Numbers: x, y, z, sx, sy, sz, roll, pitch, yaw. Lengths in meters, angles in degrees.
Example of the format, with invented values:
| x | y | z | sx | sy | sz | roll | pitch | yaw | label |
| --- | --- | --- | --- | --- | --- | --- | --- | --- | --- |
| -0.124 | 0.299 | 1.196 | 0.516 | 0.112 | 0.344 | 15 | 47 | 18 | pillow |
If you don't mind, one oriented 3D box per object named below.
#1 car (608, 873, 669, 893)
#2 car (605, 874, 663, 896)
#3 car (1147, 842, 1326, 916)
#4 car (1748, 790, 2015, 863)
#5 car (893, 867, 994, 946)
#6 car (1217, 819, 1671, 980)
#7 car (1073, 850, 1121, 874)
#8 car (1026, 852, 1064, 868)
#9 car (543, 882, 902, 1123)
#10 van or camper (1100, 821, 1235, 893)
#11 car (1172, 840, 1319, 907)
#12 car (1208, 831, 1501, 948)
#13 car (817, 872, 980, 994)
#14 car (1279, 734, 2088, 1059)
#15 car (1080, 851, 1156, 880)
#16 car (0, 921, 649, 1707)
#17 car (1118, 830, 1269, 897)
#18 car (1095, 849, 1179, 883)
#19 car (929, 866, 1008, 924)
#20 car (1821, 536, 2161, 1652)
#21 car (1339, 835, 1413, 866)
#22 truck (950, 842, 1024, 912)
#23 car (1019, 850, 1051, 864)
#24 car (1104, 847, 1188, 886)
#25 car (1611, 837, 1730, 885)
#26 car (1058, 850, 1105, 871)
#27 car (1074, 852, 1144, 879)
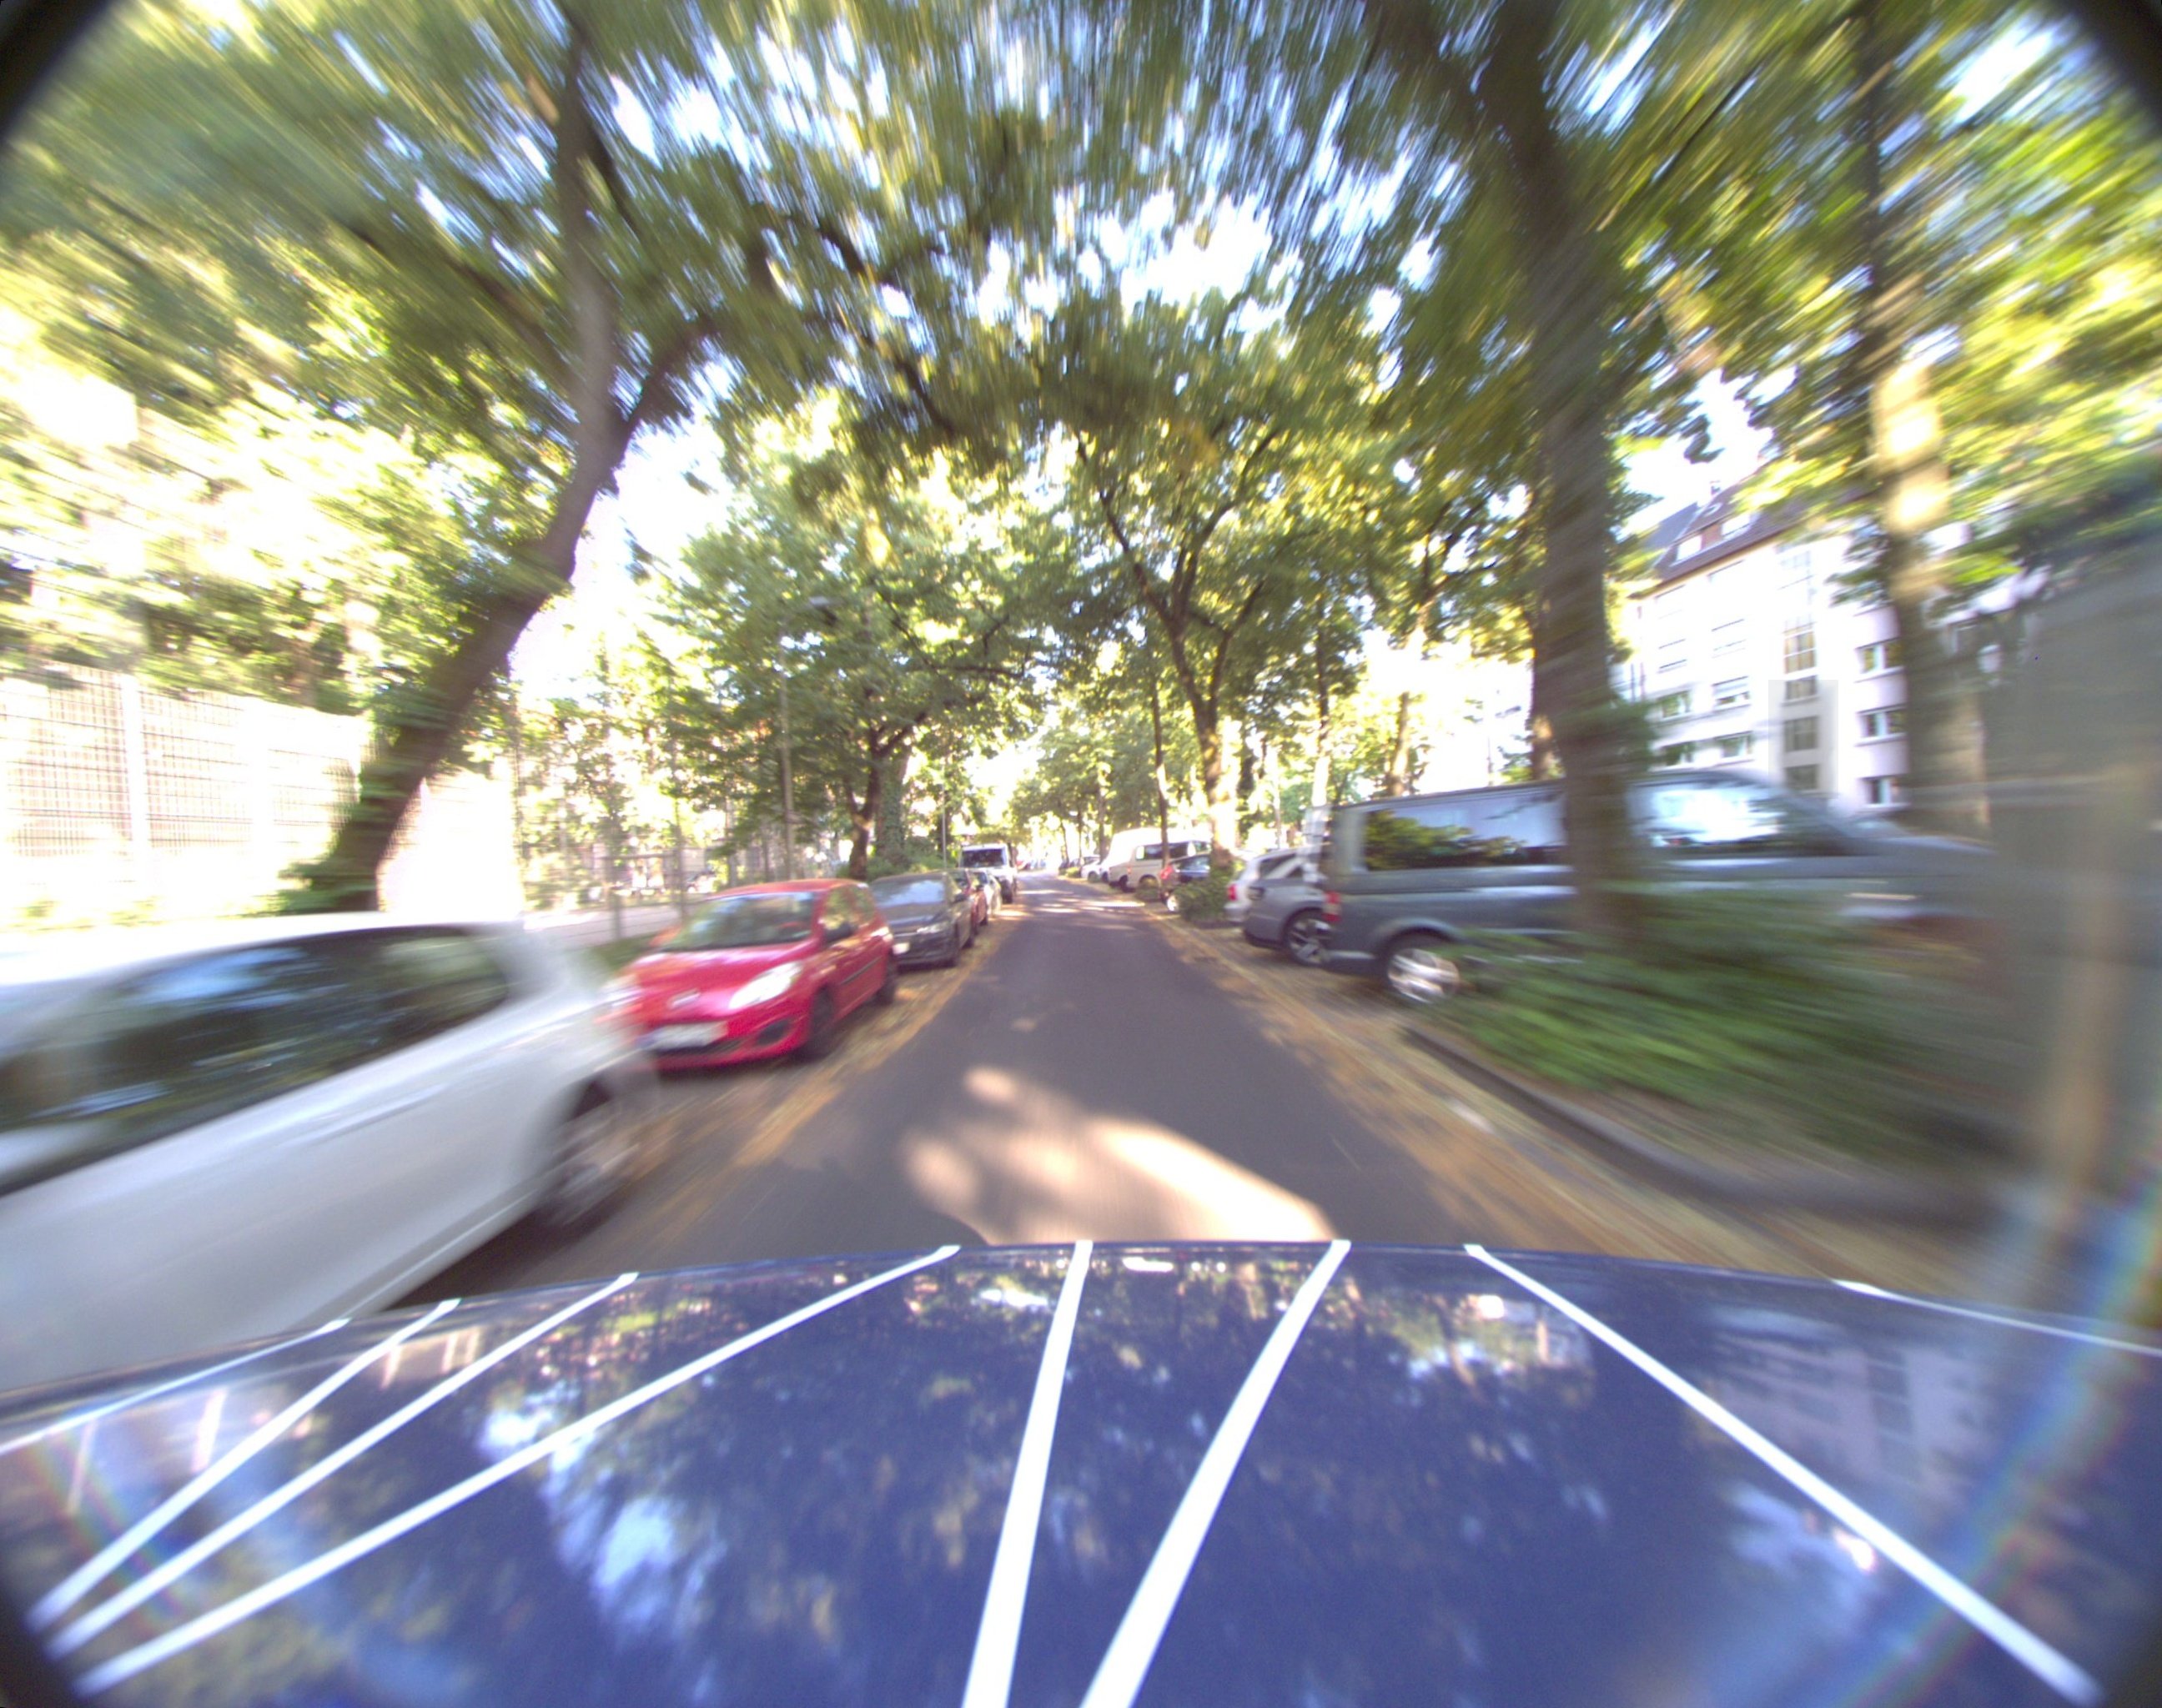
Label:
| x | y | z | sx | sy | sz | roll | pitch | yaw | label |
| --- | --- | --- | --- | --- | --- | --- | --- | --- | --- |
| -35.165 | 2.295 | 60.406 | 4.007 | 1.401 | 1.795 | -1 | 0 | -36 | car |
| -32.563 | 2.241 | 55.389 | 3.473 | 1.401 | 1.795 | -1 | 0 | -36 | car |
| 3.814 | 0.635 | 18.822 | 3.815 | 1.430 | 1.828 | -6 | 1 | 33 | car |
| 20.005 | -0.634 | 19.312 | 4.313 | 1.573 | 1.910 | -2 | 0 | 32 | car |
| -3.058 | 1.122 | 17.647 | 1.677 | 1.445 | 3.948 | -3 | 0 | -2 | car |
| 4.266 | 0.590 | 9.419 | 4.561 | 1.532 | 1.937 | -6 | 1 | 33 | car |
| 1.292 | 0.651 | 61.083 | 3.346 | 1.559 | 1.574 | -6 | 0 | 23 | car |
| -4.667 | 0.768 | 97.620 | 4.435 | 1.613 | 1.636 | -6 | 2 | 16 | car |
| -2.905 | 1.099 | 7.058 | 1.595 | 1.445 | 3.554 | -3 | 0 | -1 | car |
| 3.512 | 0.132 | 30.952 | 4.875 | 2.456 | 2.048 | -5 | 1 | 26 | van or camper |
| 4.607 | 0.554 | 21.274 | 3.542 | 1.485 | 1.828 | -6 | 1 | 28 | car |
| 4.365 | 0.599 | 12.264 | 4.084 | 1.479 | 1.786 | -6 | 1 | 31 | car |
| -2.720 | 1.113 | 12.219 | 1.677 | 1.445 | 3.948 | -3 | 0 | -2 | car |
| 4.414 | 0.387 | 6.563 | 4.702 | 1.931 | 1.937 | -6 | 1 | 33 | car |
| 2.384 | 0.738 | 49.169 | 4.456 | 1.396 | 1.859 | -6 | 0 | 25 | car |
| -3.014 | 1.110 | 1.730 | 1.685 | 1.445 | 4.075 | -3 | 0 | -1 | car |
| 4.085 | 0.351 | 27.669 | 4.875 | 1.966 | 2.048 | -5 | 1 | 28 | car |
| 3.177 | 0.688 | 42.914 | 4.235 | 1.432 | 1.859 | -6 | 1 | 25 | car |
| -3.242 | 1.145 | 22.589 | 1.676 | 1.389 | 4.298 | -3 | 0 | -1 | car |
| 4.562 | 0.261 | 0.408 | 5.502 | 2.125 | 2.084 | -6 | 1 | 29 | car |
| 18.904 | -0.216 | 48.685 | 4.309 | 1.807 | 1.816 | -2 | 0 | 25 | car |
| -3.606 | 0.805 | 30.501 | 2.302 | 2.372 | 6.932 | -3 | 0 | -3 | truck |
| -6.675 | 0.449 | 110.772 | 4.236 | 1.658 | 1.636 | -6 | 2 | 16 | car |
| 3.175 | 0.606 | 37.181 | 3.542 | 1.485 | 1.828 | -6 | 1 | 28 | car |
| 27.414 | 0.333 | 35.562 | 1.856 | 1.982 | 4.417 | -5 | 0 | -2 | car |
| 0.045 | 0.610 | 69.526 | 3.889 | 1.440 | 1.636 | -6 | 2 | 21 | car |
| 1.920 | 0.770 | 52.020 | 4.305 | 1.396 | 1.746 | -6 | 0 | 21 | car |
